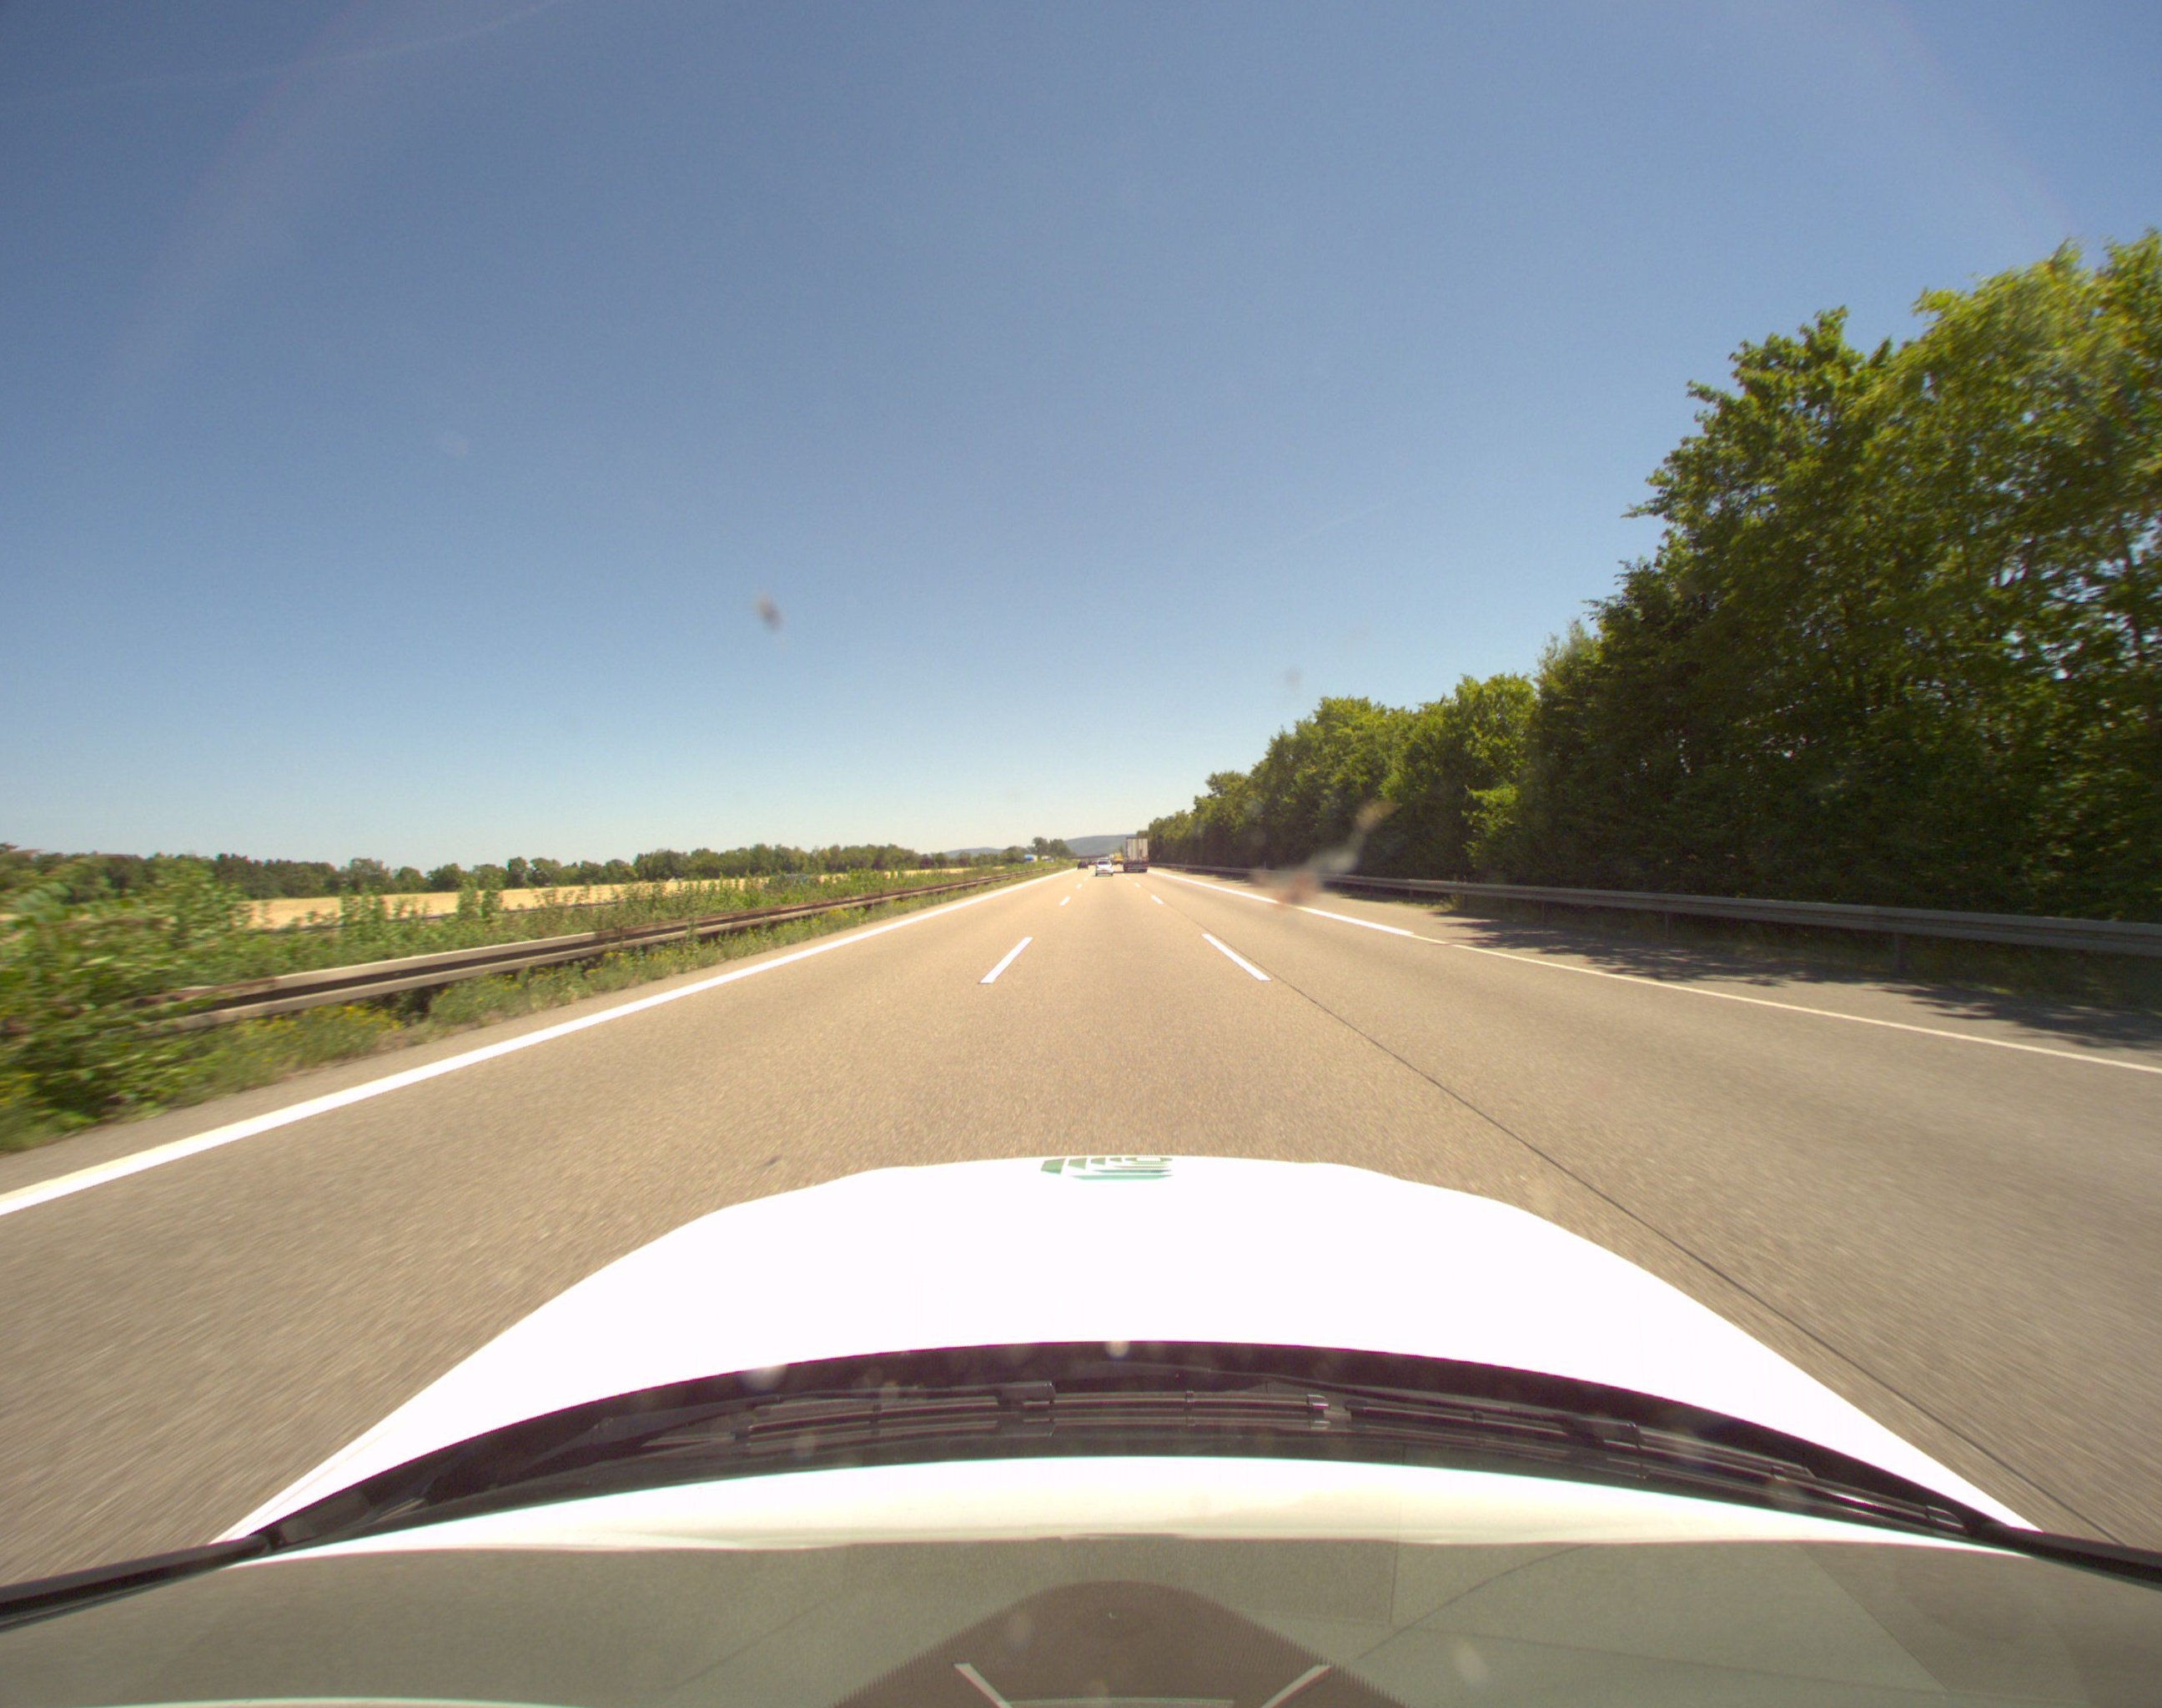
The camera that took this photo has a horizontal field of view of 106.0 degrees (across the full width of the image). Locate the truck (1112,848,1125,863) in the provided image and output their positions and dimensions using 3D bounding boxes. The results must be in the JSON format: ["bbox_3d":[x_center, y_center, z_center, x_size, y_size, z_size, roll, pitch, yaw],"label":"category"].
[{"bbox_3d":[11.345,0.597,247.277,3.857,4.345,13.863,0,0,1],"label":"truck"}]

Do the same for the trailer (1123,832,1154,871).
[{"bbox_3d":[6.826,-0.276,98.715,3.205,4.345,13.635,0,0,2],"label":"trailer"}]

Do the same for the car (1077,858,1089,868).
[{"bbox_3d":[0.297,1.480,141.407,1.987,1.712,4.000,0,0,1],"label":"car"}]

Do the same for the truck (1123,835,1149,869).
[{"bbox_3d":[7.127,-0.229,106.499,3.205,4.345,6.593,0,0,2],"label":"truck"}]

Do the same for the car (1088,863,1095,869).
[{"bbox_3d":[3.045,3.443,237.643,1.789,1.551,4.001,-1,-1,1],"label":"car"}]

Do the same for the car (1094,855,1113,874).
[{"bbox_3d":[2.141,1.002,78.806,1.726,1.684,4.000,-2,0,1],"label":"car"}]
